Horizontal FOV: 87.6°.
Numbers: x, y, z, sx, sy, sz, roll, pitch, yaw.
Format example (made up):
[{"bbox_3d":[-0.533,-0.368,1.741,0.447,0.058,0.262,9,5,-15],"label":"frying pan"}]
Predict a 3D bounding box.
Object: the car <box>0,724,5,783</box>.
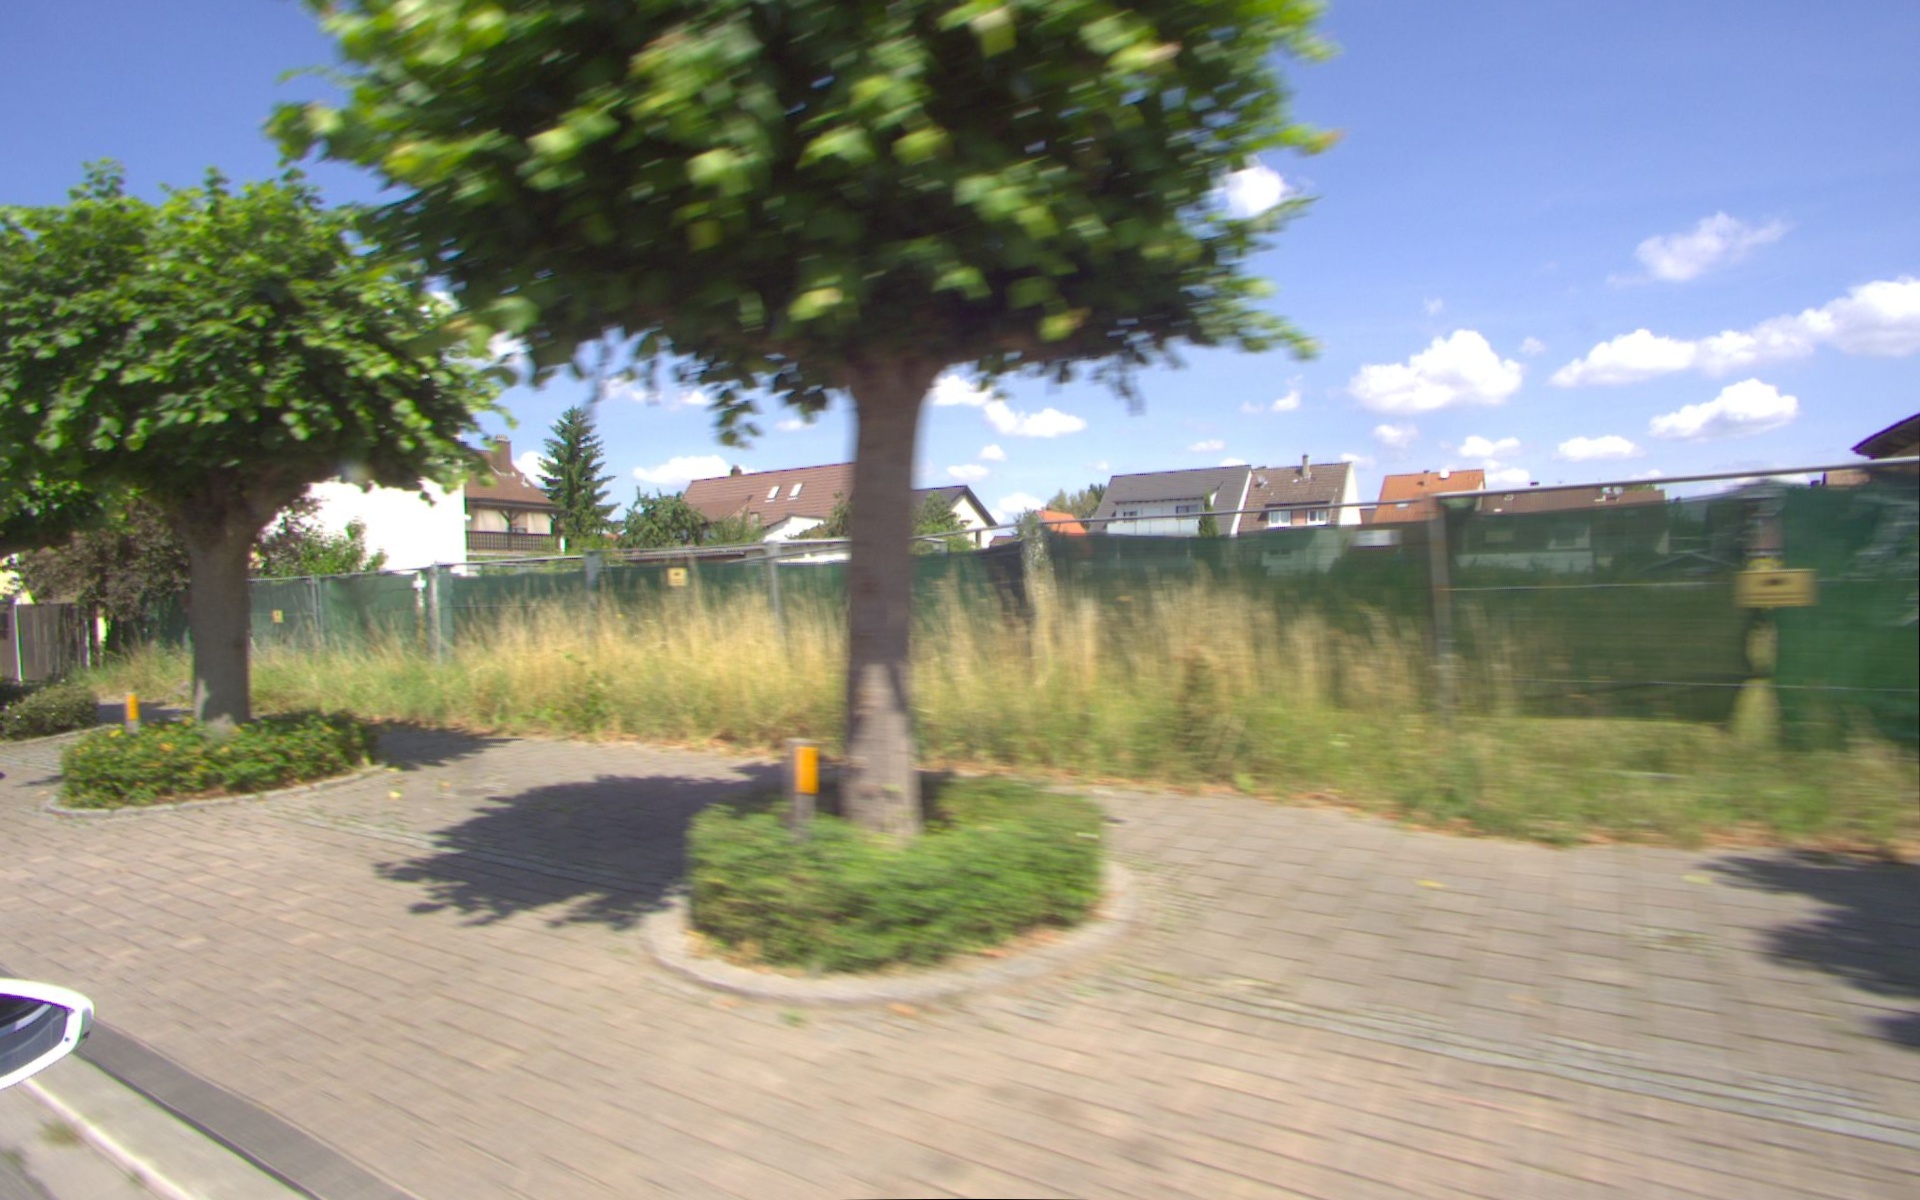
[{"bbox_3d":[-10.487,0.916,8.978,3.999,1.452,1.819,0,3,33],"label":"car"}]
